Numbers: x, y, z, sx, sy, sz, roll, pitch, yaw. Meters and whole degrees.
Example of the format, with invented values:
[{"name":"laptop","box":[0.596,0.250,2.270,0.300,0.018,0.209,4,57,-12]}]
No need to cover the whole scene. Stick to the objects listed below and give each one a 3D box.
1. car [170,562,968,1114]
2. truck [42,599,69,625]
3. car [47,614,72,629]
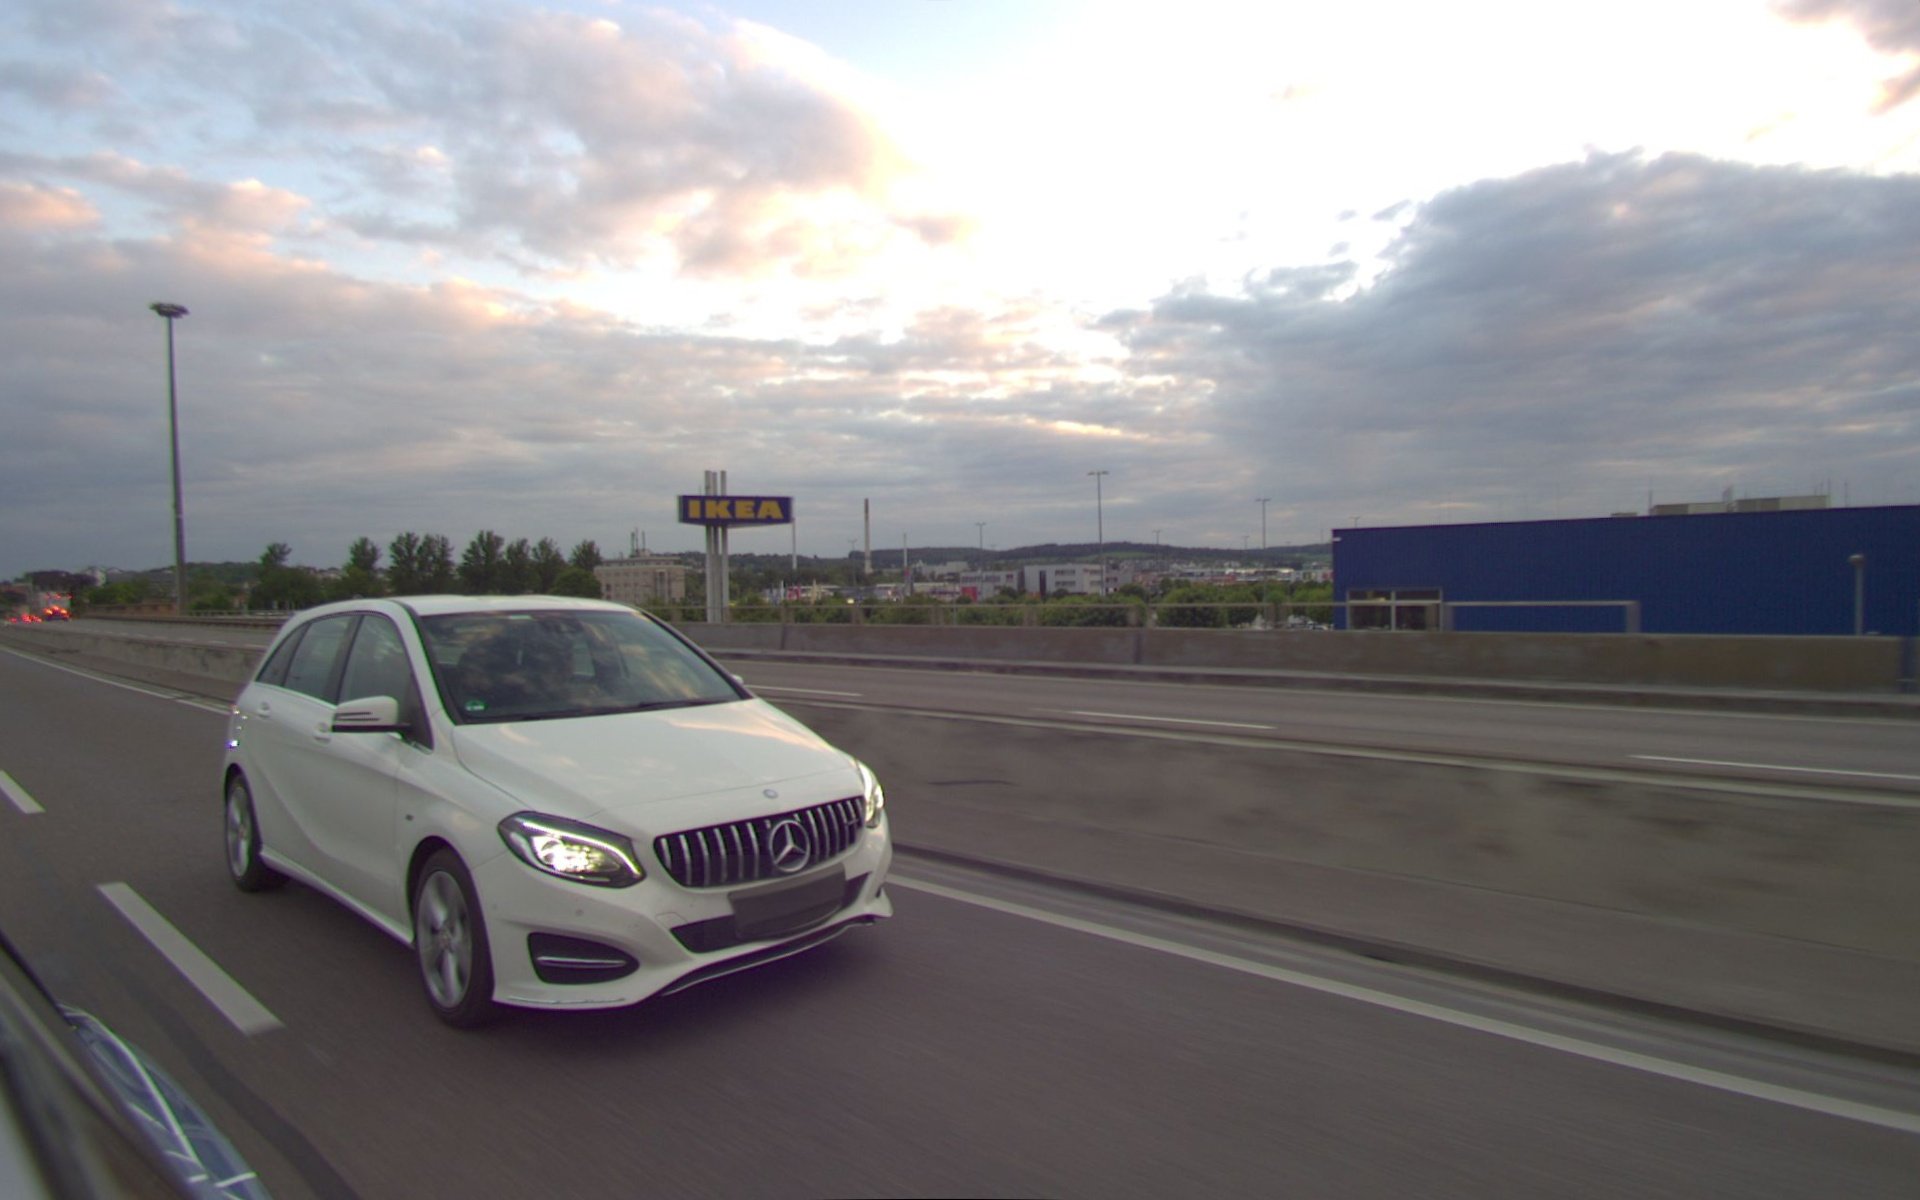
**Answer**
[{"name":"car","box":[-2.329,0.732,5.063,4.781,1.548,1.673,-2,-1,41]},{"name":"truck","box":[-118.789,1.582,132.840,2.505,3.321,7.454,-1,0,-43]},{"name":"car","box":[-102.196,2.387,114.854,1.954,1.618,4.445,-1,0,-44]}]
